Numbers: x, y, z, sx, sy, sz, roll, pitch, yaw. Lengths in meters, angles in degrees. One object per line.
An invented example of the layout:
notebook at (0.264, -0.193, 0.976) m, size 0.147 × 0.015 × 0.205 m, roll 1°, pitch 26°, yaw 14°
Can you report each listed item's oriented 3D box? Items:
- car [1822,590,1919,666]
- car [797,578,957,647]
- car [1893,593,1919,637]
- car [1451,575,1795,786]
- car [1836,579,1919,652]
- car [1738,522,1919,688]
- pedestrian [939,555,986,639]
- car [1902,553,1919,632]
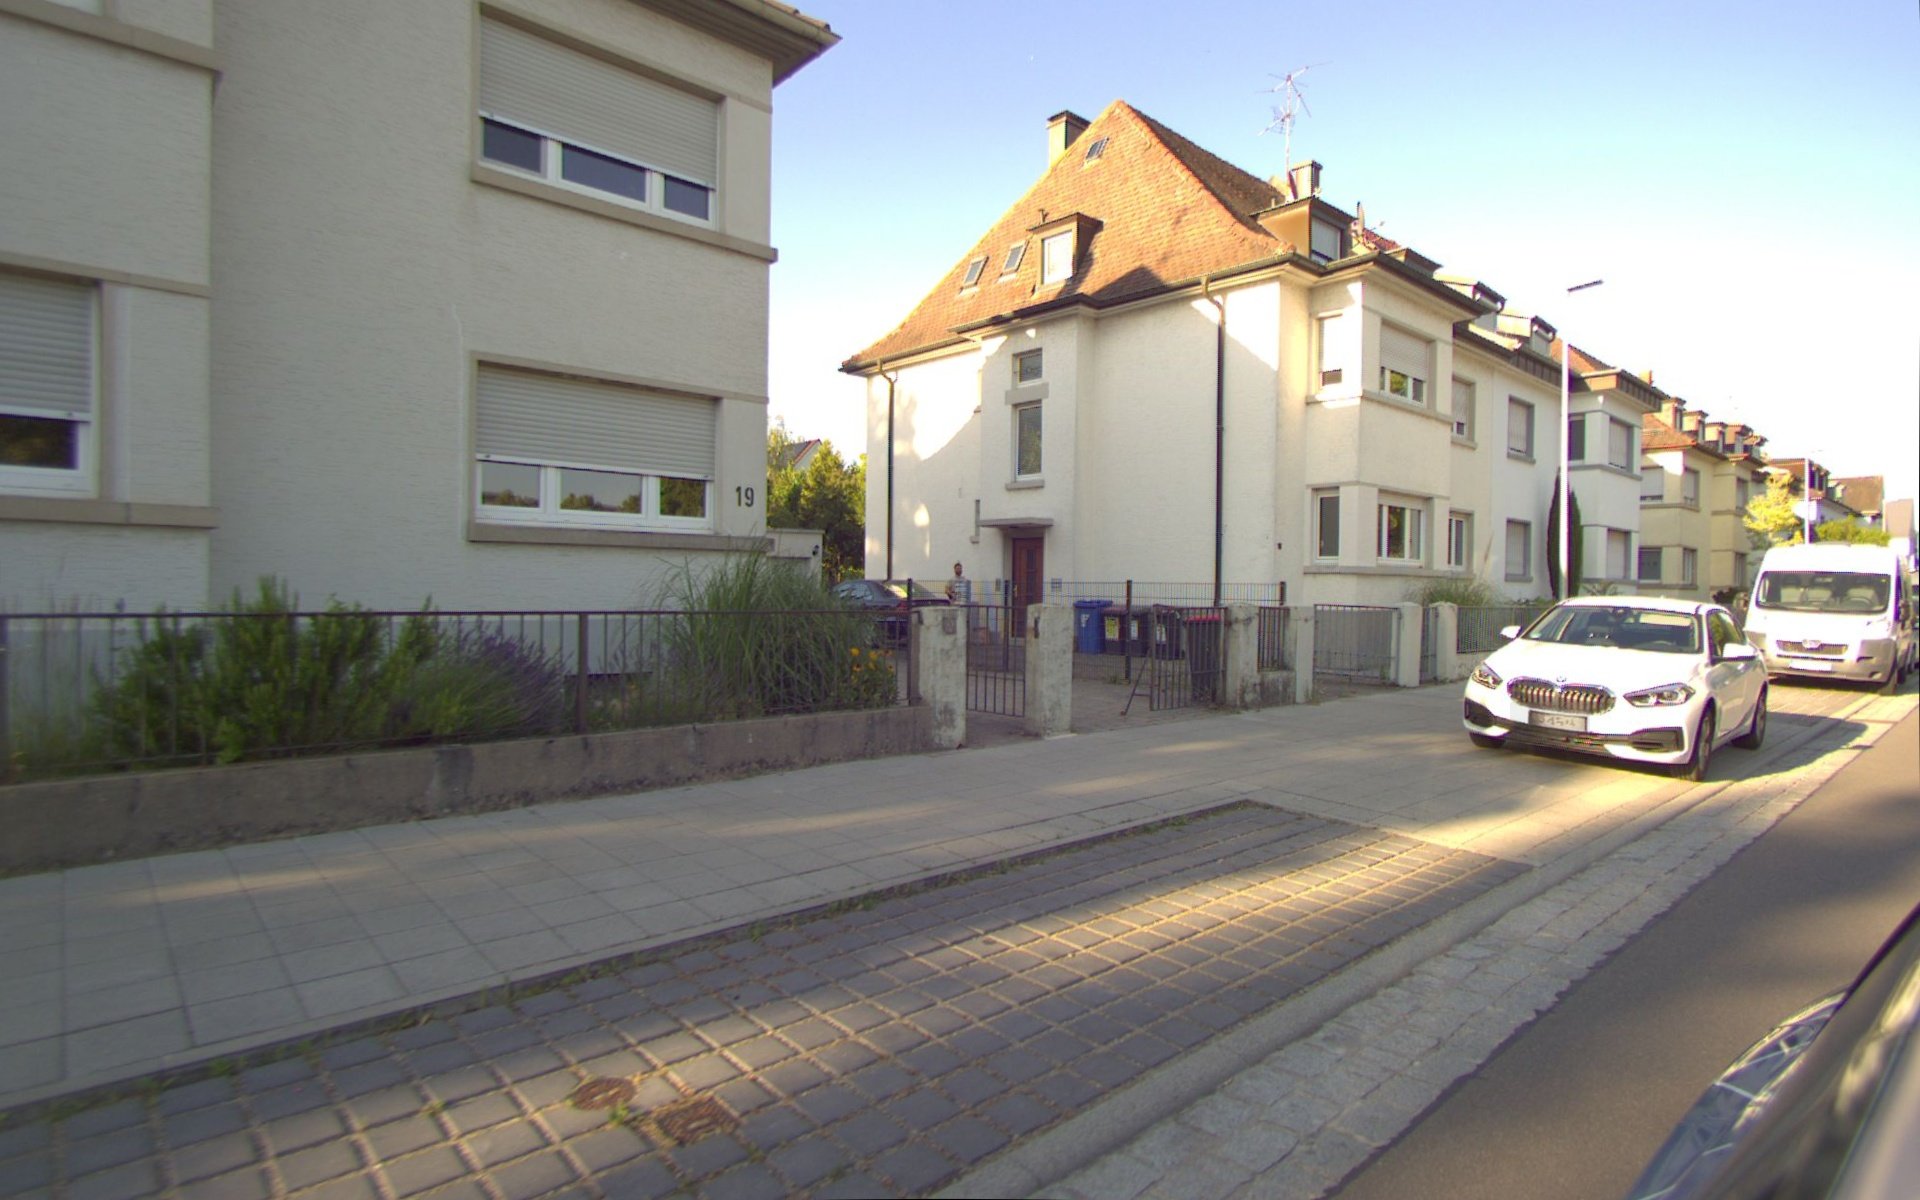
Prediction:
car at (20.182, 0.545, 22.005) m, size 4.036 × 1.501 × 1.624 m, roll 0°, pitch 0°, yaw -41°
car at (-1.861, 0.208, 21.815) m, size 1.634 × 1.306 × 3.833 m, roll 0°, pitch 2°, yaw -37°
car at (33.156, 0.484, 34.462) m, size 3.935 × 1.457 × 1.628 m, roll 0°, pitch 1°, yaw -41°
car at (6.465, 0.598, 9.674) m, size 4.162 × 1.526 × 1.785 m, roll 0°, pitch 3°, yaw -43°
car at (23.789, 0.368, 25.730) m, size 4.404 × 1.665 × 1.780 m, roll 0°, pitch 2°, yaw -43°
car at (15.839, 0.033, 18.201) m, size 5.418 × 2.549 × 2.131 m, roll 0°, pitch 2°, yaw -44°
pedestrian at (0.055, -0.049, 21.989) m, size 0.702 × 1.783 × 0.695 m, roll 0°, pitch -2°, yaw -43°
car at (37.684, -0.254, 38.583) m, size 5.884 × 2.890 × 2.132 m, roll 0°, pitch 0°, yaw -42°
